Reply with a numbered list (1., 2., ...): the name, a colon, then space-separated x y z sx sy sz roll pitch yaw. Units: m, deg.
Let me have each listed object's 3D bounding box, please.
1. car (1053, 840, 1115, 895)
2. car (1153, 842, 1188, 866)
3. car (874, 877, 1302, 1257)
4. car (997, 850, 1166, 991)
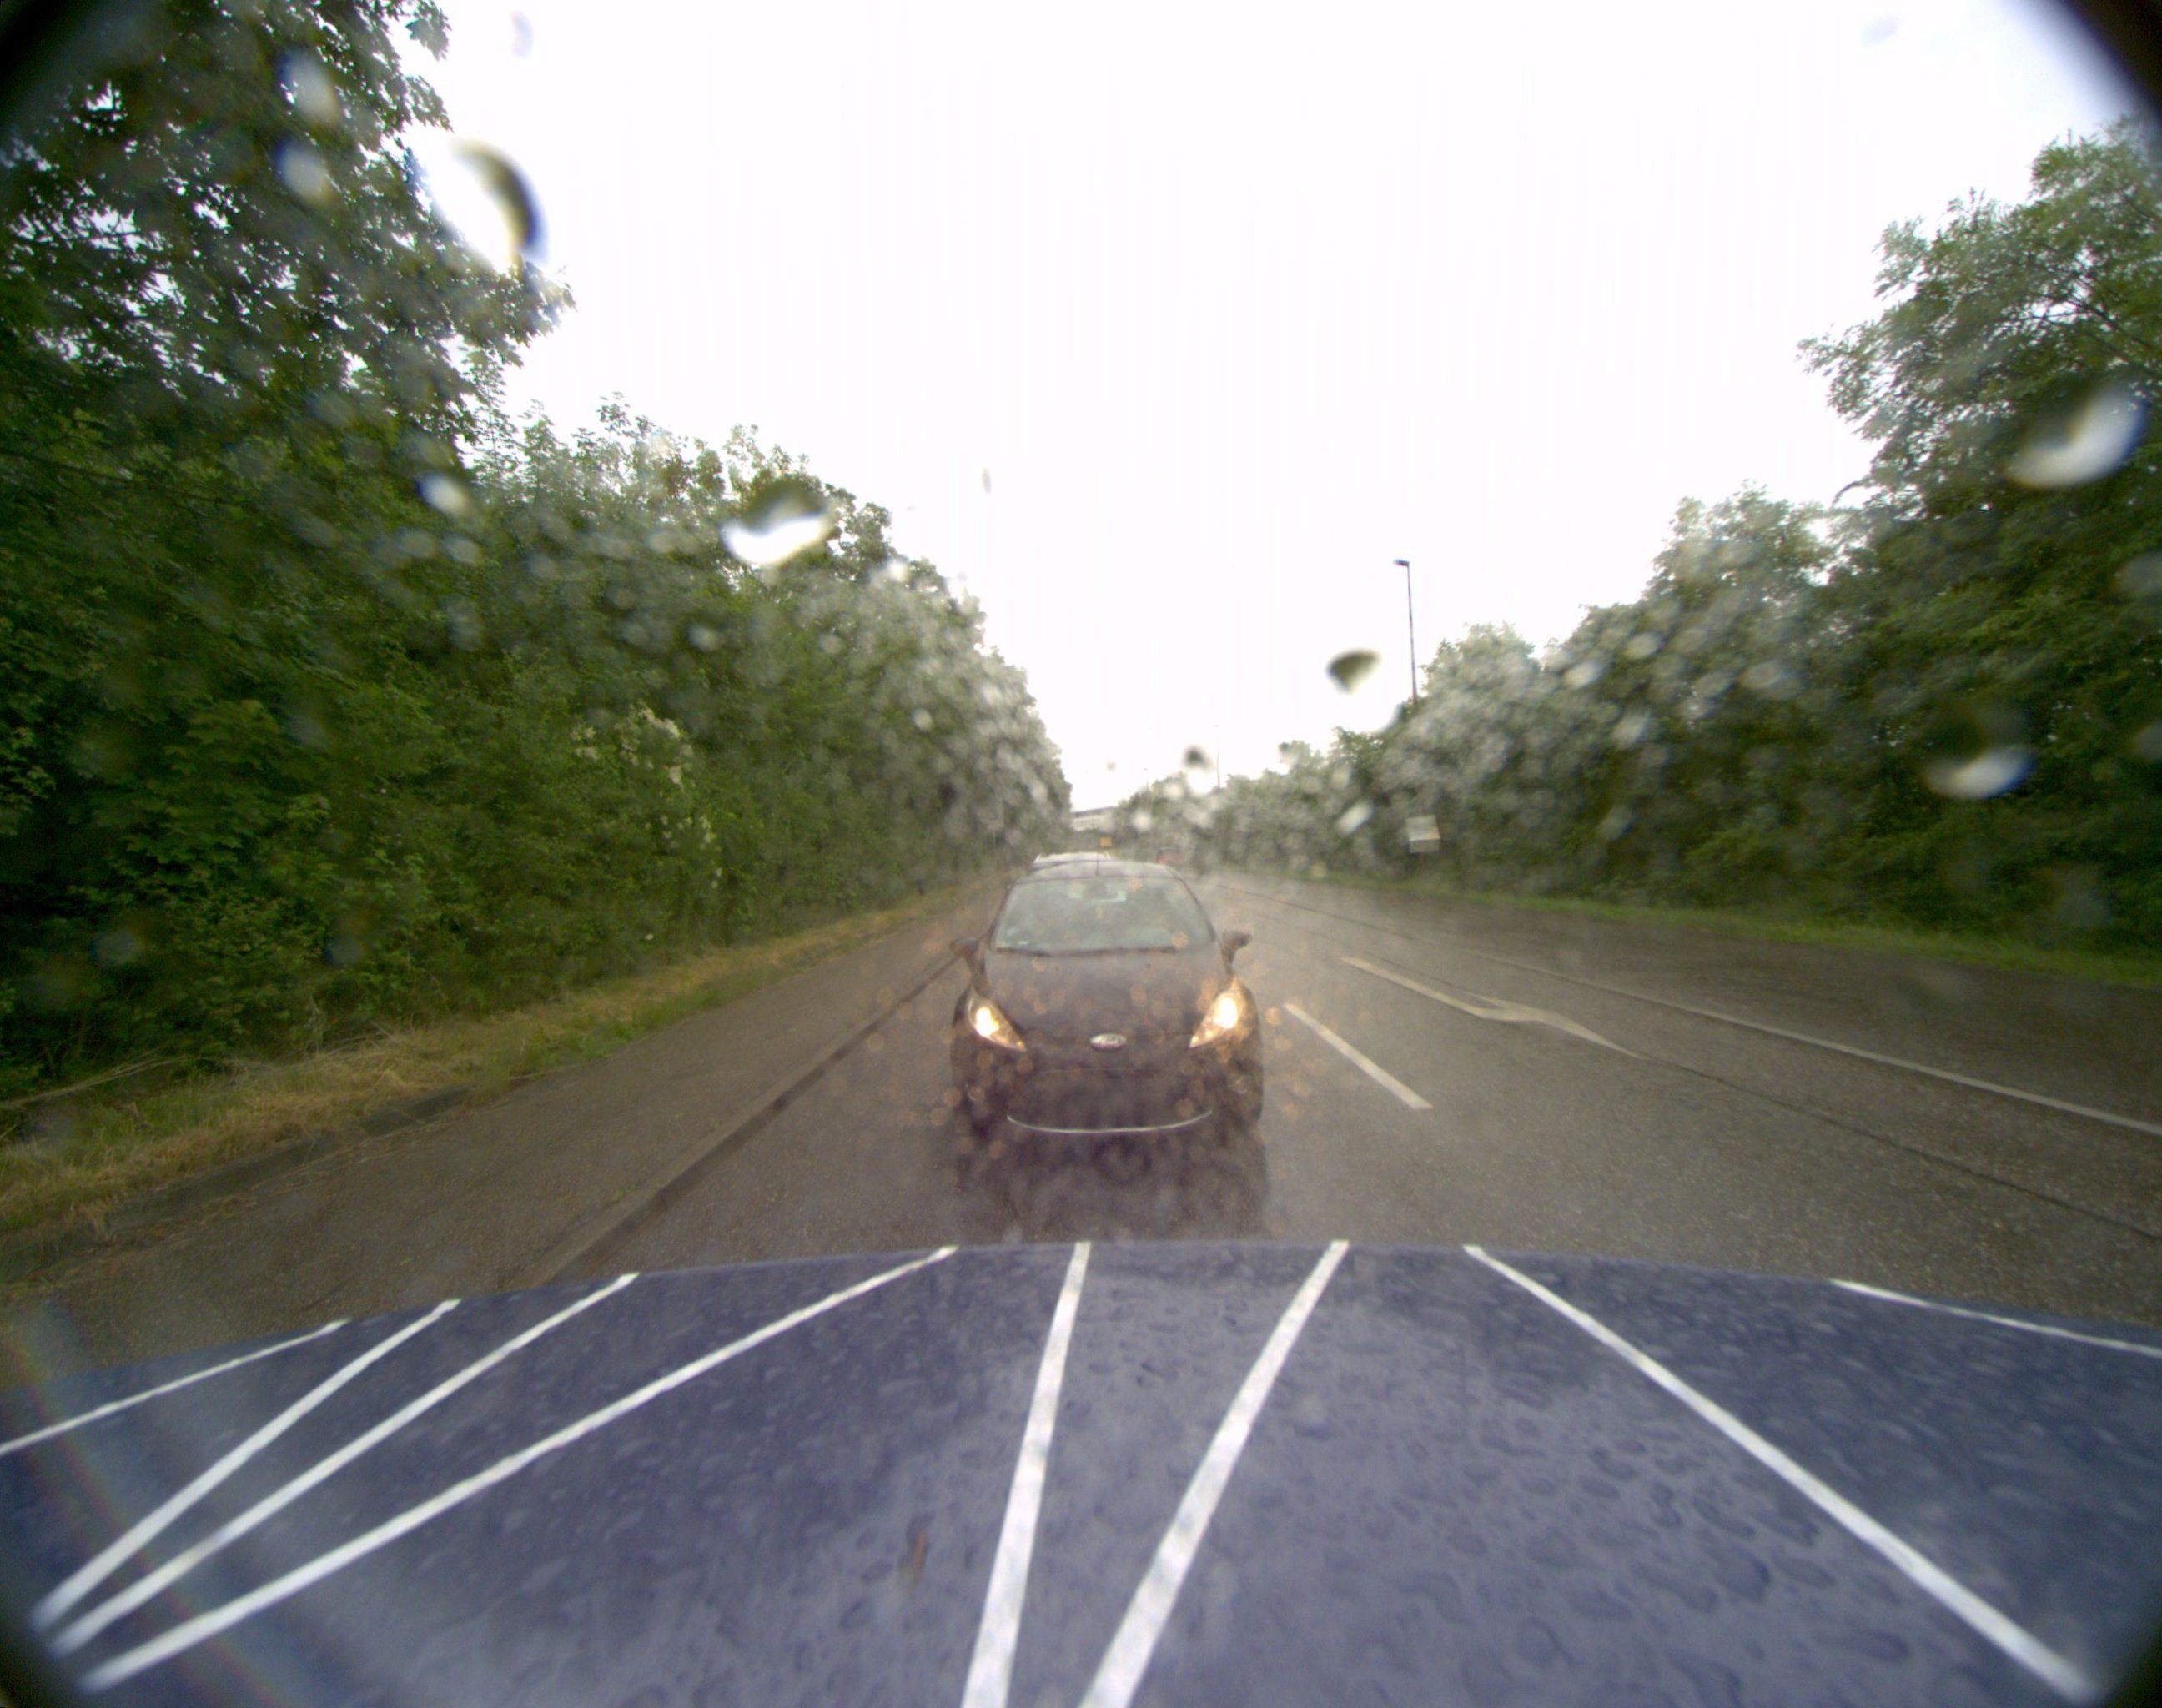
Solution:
1. car: 0.110 0.447 27.390 1.998 1.778 4.000 -2 0 0
2. car: 6.293 -0.043 53.565 1.998 1.576 3.999 -2 1 1
3. car: 0.059 1.010 5.518 1.839 1.404 4.341 -2 1 1
4. car: 0.029 0.805 11.244 1.998 1.576 3.999 -2 1 1
